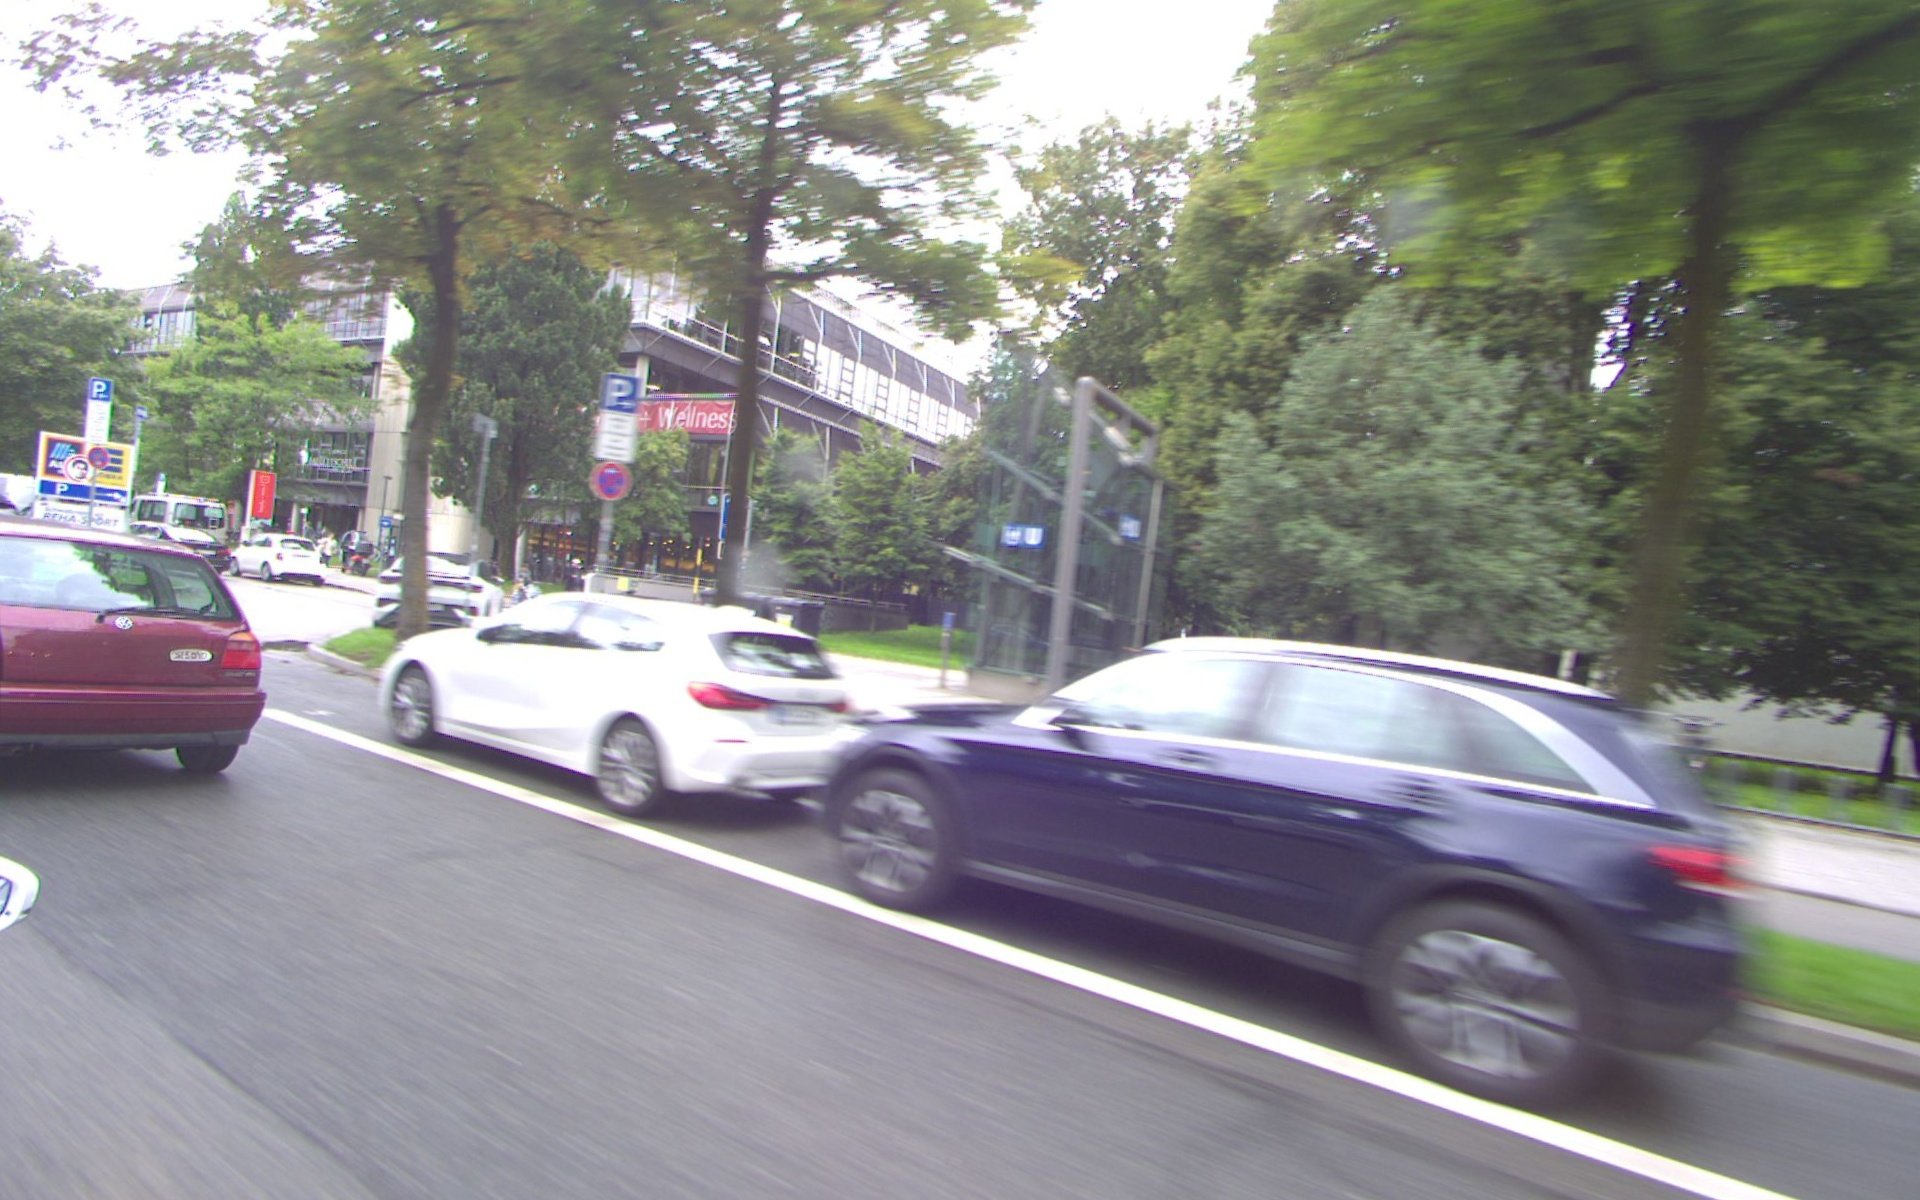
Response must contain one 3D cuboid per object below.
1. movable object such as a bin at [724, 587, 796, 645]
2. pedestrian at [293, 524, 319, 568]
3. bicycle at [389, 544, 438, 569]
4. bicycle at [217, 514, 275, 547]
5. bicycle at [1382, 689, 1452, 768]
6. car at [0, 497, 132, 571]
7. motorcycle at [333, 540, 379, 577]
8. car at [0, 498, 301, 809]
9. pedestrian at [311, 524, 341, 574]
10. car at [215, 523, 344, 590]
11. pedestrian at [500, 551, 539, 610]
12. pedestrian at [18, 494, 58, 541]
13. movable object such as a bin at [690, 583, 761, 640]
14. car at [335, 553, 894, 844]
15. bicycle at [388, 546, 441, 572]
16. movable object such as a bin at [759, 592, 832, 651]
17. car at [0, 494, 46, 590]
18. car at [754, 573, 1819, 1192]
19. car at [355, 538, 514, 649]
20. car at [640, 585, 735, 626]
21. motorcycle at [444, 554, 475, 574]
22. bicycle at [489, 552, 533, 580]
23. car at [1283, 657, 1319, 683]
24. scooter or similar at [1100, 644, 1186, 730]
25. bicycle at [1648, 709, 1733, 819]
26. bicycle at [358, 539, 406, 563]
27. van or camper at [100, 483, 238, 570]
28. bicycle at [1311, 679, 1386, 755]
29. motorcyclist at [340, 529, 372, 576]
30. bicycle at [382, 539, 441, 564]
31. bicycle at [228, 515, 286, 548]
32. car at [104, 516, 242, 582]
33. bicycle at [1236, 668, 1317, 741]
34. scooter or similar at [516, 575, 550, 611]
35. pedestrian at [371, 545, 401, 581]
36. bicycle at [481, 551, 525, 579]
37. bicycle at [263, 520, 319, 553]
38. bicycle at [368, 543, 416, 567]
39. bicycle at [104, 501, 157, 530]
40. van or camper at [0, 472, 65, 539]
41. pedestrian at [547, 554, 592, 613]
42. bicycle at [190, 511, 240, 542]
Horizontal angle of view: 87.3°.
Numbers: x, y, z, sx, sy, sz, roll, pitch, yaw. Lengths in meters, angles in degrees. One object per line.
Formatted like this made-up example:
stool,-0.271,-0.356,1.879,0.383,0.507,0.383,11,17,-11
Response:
movable object such as a bin,-5.656,0.469,28.485,1.292,1.426,1.338,7,0,30
pedestrian,-28.264,-2.328,43.504,0.720,1.773,0.575,7,0,36
bicycle,-27.495,-2.178,50.664,2.020,0.969,0.743,7,0,-22
bicycle,-41.566,-4.034,58.619,0.784,1.526,2.617,7,0,23
bicycle,7.432,2.033,16.295,0.636,1.102,2.546,7,-1,31
car,-24.421,-1.808,27.162,3.931,1.505,1.768,7,-2,29
motorcycle,-23.924,-1.637,39.832,2.032,1.309,0.695,7,4,32
car,-5.980,0.112,6.174,3.884,1.471,1.624,7,0,31
pedestrian,-23.828,-1.910,37.813,0.720,1.773,0.575,7,0,36
car,-22.397,-1.438,33.077,3.934,1.671,1.996,7,0,32
pedestrian,-13.832,-0.624,31.606,0.971,1.744,0.539,7,2,32
pedestrian,-40.119,-3.572,43.772,0.888,1.873,0.877,7,-1,31
movable object such as a bin,-6.786,0.336,29.170,1.292,1.426,1.338,7,0,30
car,-2.867,0.616,8.002,4.408,1.451,1.656,7,-1,31
bicycle,-26.332,-1.984,48.587,2.015,0.969,0.744,7,0,-15
movable object such as a bin,-4.533,0.603,27.795,1.292,1.426,1.338,7,0,30
car,-18.702,-1.269,18.304,4.378,1.608,1.764,7,0,31
car,1.296,0.986,5.303,4.519,1.695,1.789,7,0,31
car,-9.957,-0.137,19.462,1.946,1.644,4.825,8,-1,-20
car,-10.569,0.244,39.236,1.534,1.165,3.449,7,-2,28
motorcycle,-26.406,-1.882,53.063,1.545,0.876,0.851,7,0,39
bicycle,-24.297,-1.834,54.438,0.577,1.219,2.141,7,-1,29
car,24.987,5.139,73.691,1.964,1.613,4.455,5,-2,24
scooter or similar,3.051,1.444,16.806,1.217,1.248,0.420,7,0,34
bicycle,10.344,2.267,14.312,0.636,1.296,2.546,7,-1,31
bicycle,-30.352,-2.566,52.869,0.734,0.969,2.044,7,-1,30
van or camper,-29.190,-2.738,37.070,5.858,2.589,1.996,7,0,32
bicycle,6.543,1.927,16.848,0.636,1.102,2.546,7,-1,31
motorcyclist,-23.869,-1.868,39.783,0.937,1.762,0.690,7,5,32
bicycle,-26.978,-2.388,49.520,2.366,0.880,0.769,7,0,-15
bicycle,-40.728,-3.930,58.328,0.784,1.526,2.617,7,0,23
car,-24.119,-1.579,30.788,4.758,1.471,1.686,7,-1,32
bicycle,5.546,1.808,17.504,0.636,1.102,2.546,7,-1,31
scooter or similar,-13.236,-0.214,31.190,0.819,1.032,0.500,7,2,32
pedestrian,-22.234,-1.432,38.972,0.687,1.308,0.731,6,2,36
bicycle,-24.841,-1.900,54.732,0.577,1.219,2.141,7,-1,29
bicycle,-38.051,-3.602,57.302,0.783,1.526,2.619,7,0,18
bicycle,-29.484,-2.315,52.245,0.734,0.969,2.044,7,-1,30
bicycle,-56.215,-5.694,68.211,0.784,1.526,2.616,7,0,25
van or camper,-43.045,-4.380,45.570,5.858,2.589,2.026,7,0,32
pedestrian,-12.482,-0.518,32.163,0.924,1.744,0.828,7,2,32
bicycle,-43.903,-4.329,59.356,0.783,1.526,2.619,7,0,2
